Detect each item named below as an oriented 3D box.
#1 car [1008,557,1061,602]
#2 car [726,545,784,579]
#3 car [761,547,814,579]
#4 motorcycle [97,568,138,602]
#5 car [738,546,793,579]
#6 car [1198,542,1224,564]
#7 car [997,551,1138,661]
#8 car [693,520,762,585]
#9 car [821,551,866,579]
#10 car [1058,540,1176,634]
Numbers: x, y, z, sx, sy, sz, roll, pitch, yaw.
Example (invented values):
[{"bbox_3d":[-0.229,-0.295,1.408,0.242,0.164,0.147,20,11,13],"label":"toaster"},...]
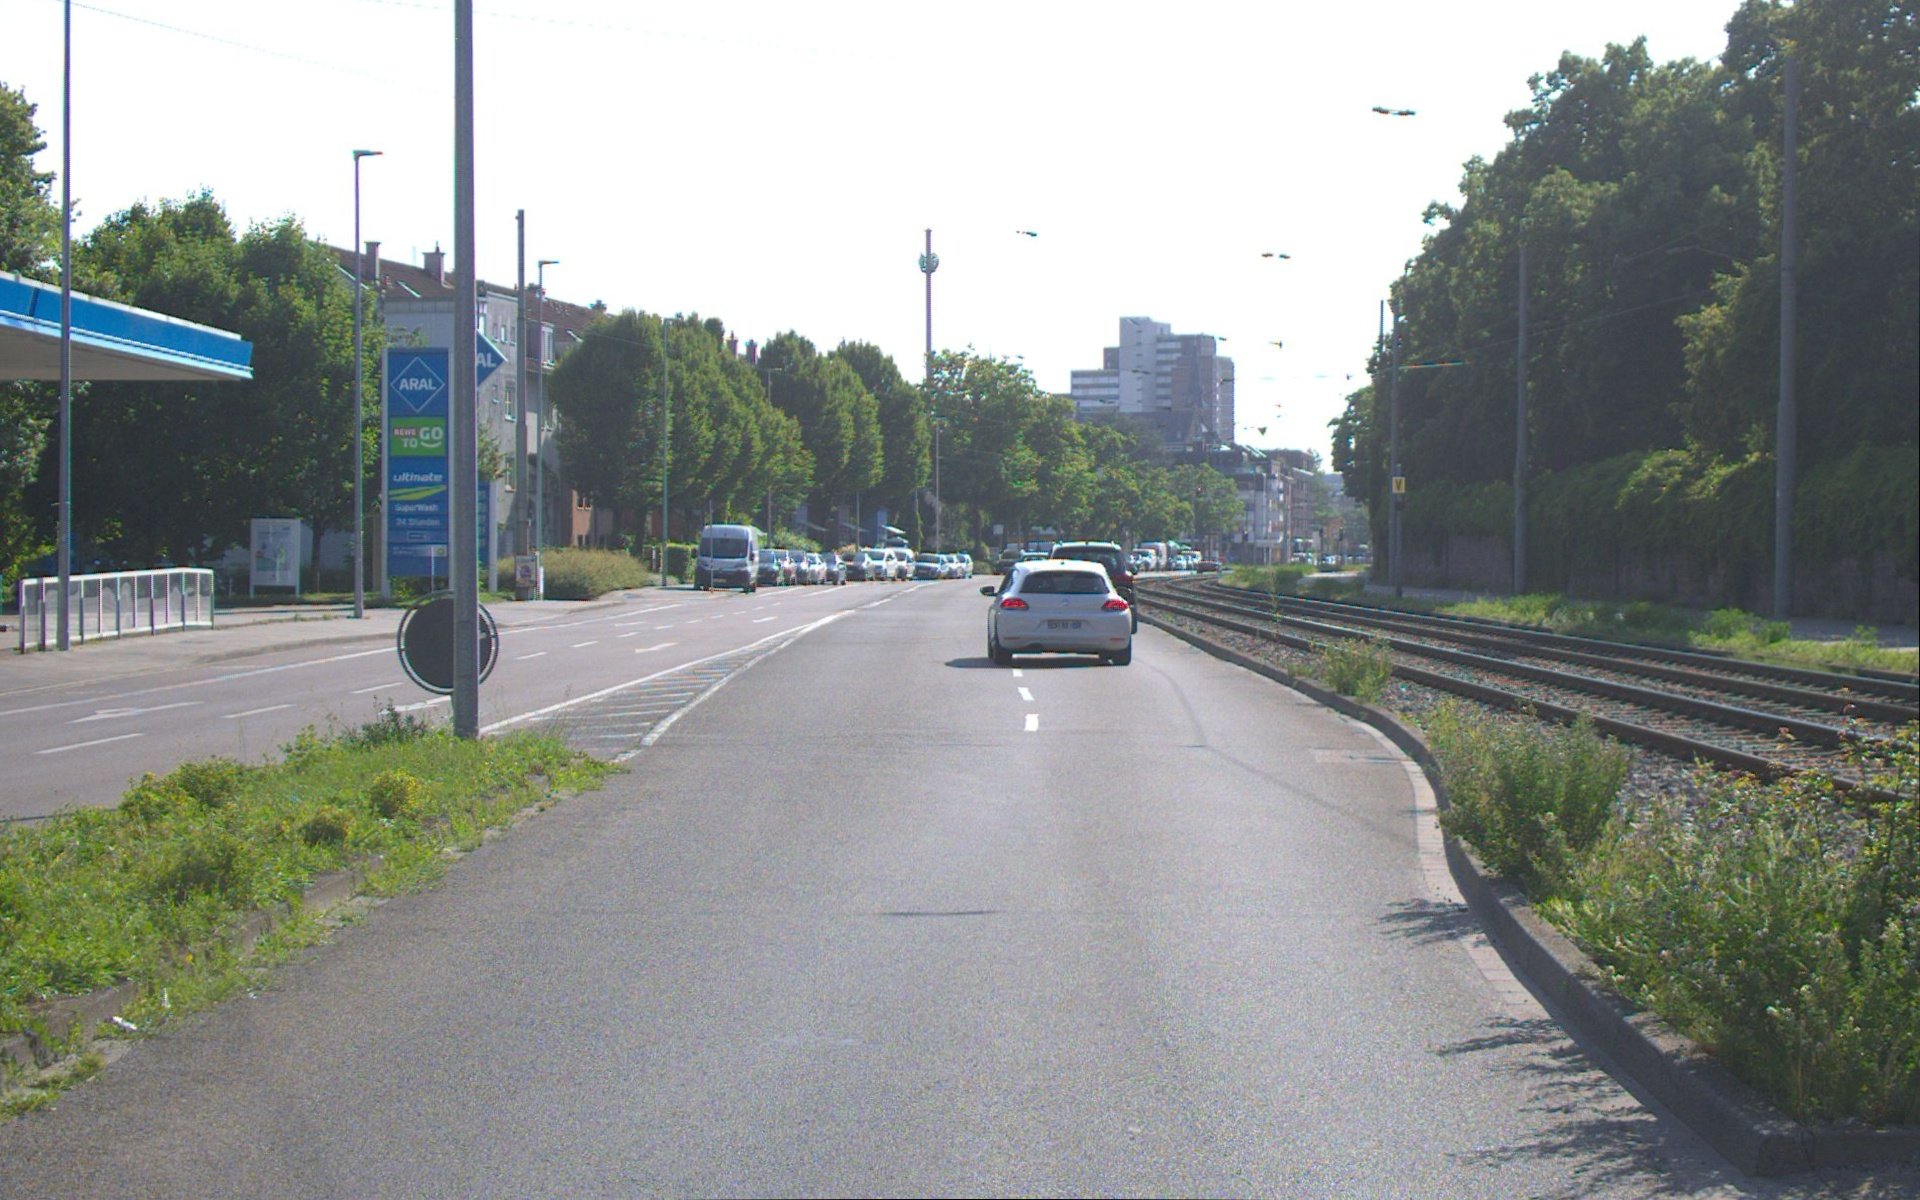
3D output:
[{"bbox_3d":[2.595,-0.732,119.730,1.749,1.480,3.601,2,1,1],"label":"car"},{"bbox_3d":[-8.555,-1.601,143.573,1.994,1.411,3.843,0,1,3],"label":"car"},{"bbox_3d":[-7.792,-1.701,155.429,1.994,1.411,3.843,0,1,3],"label":"car"},{"bbox_3d":[-22.794,-0.401,93.013,0.671,0.898,1.671,0,1,1],"label":"motorcycle"},{"bbox_3d":[-8.451,-1.650,149.545,1.994,1.411,3.843,0,1,3],"label":"car"},{"bbox_3d":[18.340,-3.437,251.190,1.724,1.587,3.600,2,1,6],"label":"car"},{"bbox_3d":[1.407,0.052,46.255,1.781,1.351,3.601,2,1,0],"label":"car"},{"bbox_3d":[-8.666,-1.795,128.338,1.994,2.368,4.538,0,1,4],"label":"car"},{"bbox_3d":[-6.003,-1.794,177.891,1.994,1.411,3.843,0,1,3],"label":"car"},{"bbox_3d":[2.832,-0.261,62.552,1.724,1.587,3.602,2,1,-4],"label":"car"}]
